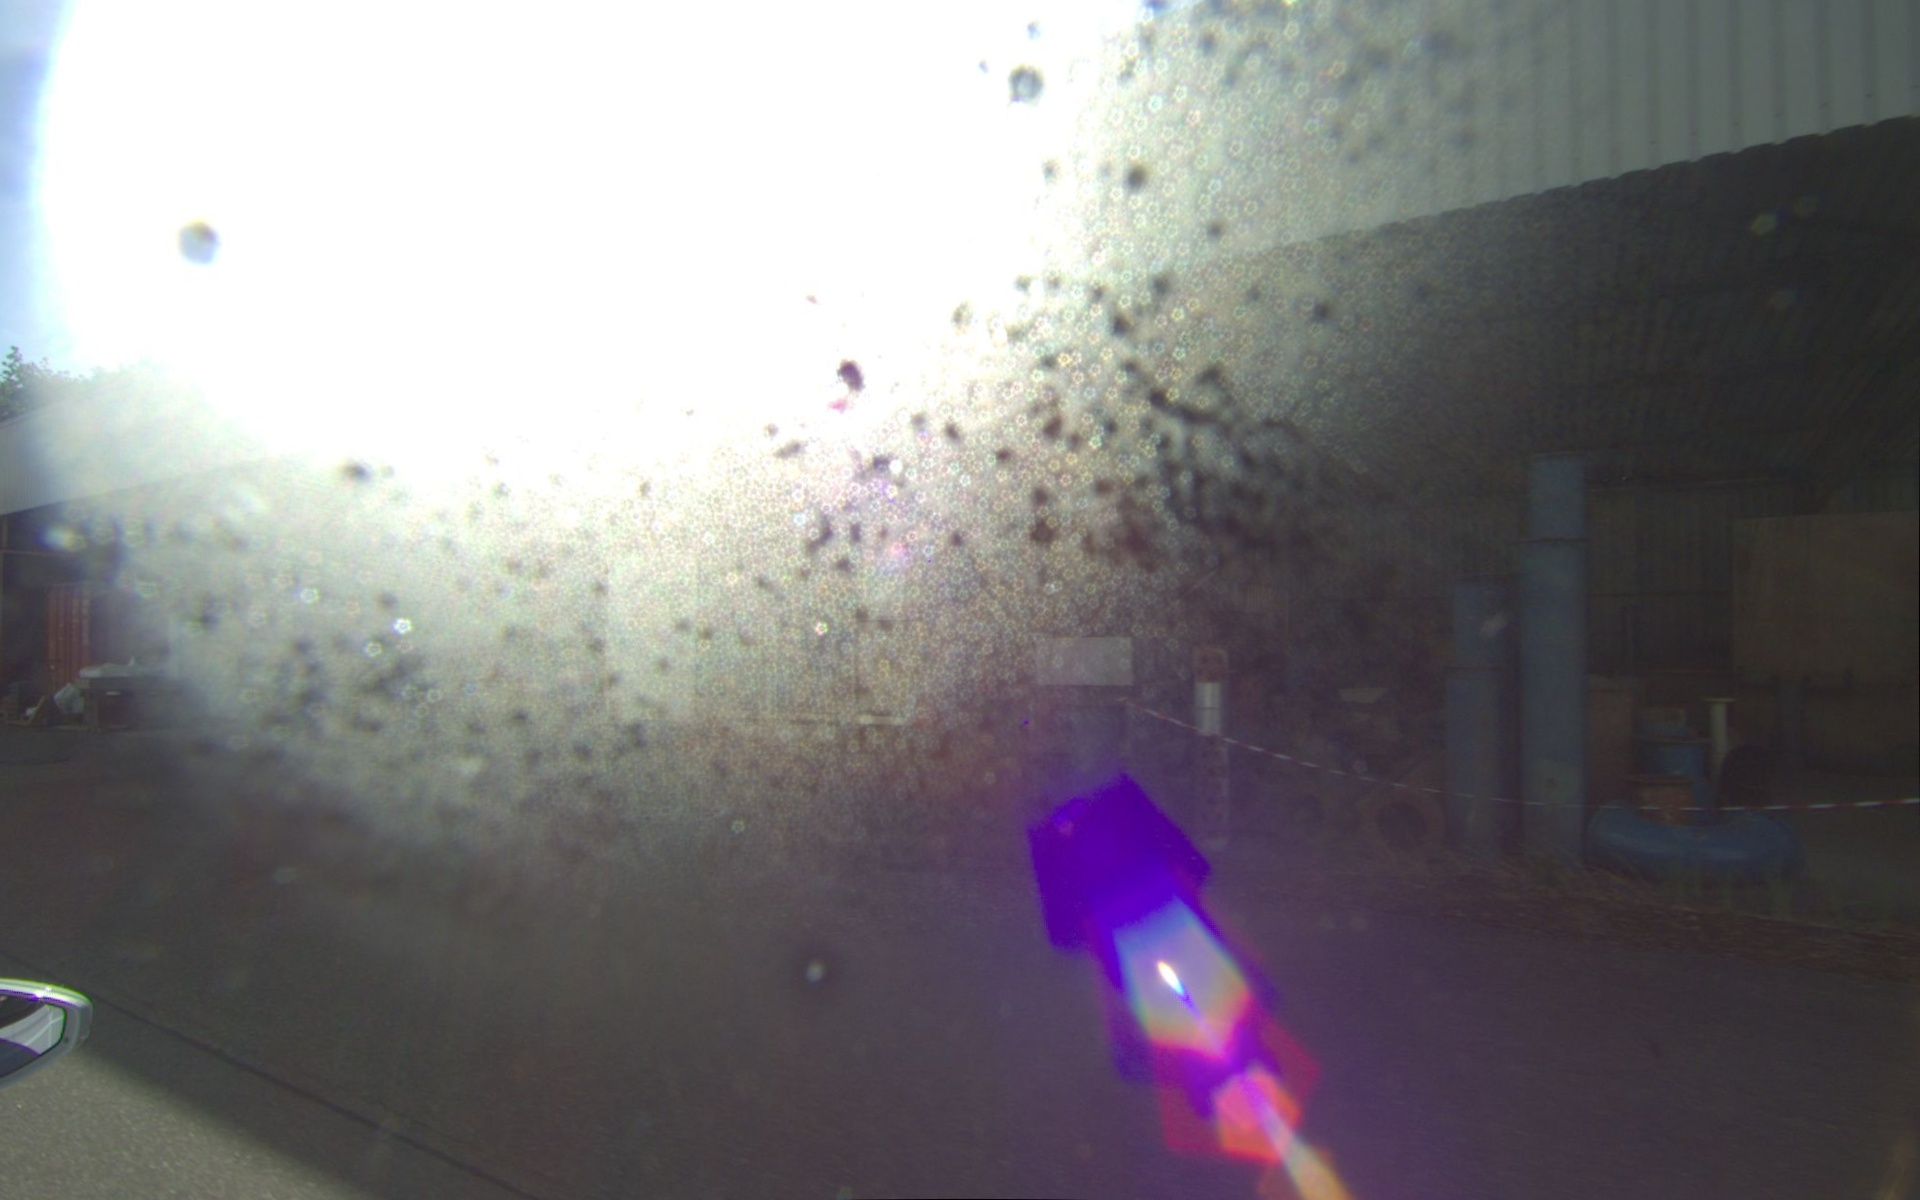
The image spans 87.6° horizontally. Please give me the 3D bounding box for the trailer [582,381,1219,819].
[{"bbox_3d":[0.380,0.166,12.841,2.761,3.385,10.252,-1,-2,32],"label":"trailer"}]

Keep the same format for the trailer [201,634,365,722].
[{"bbox_3d":[-12.338,1.371,18.290,1.715,1.485,2.032,-1,-2,36],"label":"trailer"}]

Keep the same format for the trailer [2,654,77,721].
[{"bbox_3d":[-16.284,1.528,17.710,1.524,1.132,0.551,-2,-2,30],"label":"trailer"}]

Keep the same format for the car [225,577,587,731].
[{"bbox_3d":[-9.570,0.957,17.888,2.121,2.309,5.327,-2,-3,31],"label":"car"}]

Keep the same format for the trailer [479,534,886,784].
[{"bbox_3d":[-3.045,0.647,11.948,2.019,2.371,4.508,-2,-2,32],"label":"trailer"}]

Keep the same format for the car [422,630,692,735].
[{"bbox_3d":[-6.584,1.315,16.805,1.812,1.532,3.962,-2,-3,29],"label":"car"}]

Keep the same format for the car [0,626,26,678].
[{"bbox_3d":[-37.387,1.888,36.303,1.967,1.939,4.774,-1,-3,24],"label":"car"}]

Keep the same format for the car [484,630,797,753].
[{"bbox_3d":[-4.410,1.226,14.534,1.841,1.490,4.247,-1,-3,29],"label":"car"}]
